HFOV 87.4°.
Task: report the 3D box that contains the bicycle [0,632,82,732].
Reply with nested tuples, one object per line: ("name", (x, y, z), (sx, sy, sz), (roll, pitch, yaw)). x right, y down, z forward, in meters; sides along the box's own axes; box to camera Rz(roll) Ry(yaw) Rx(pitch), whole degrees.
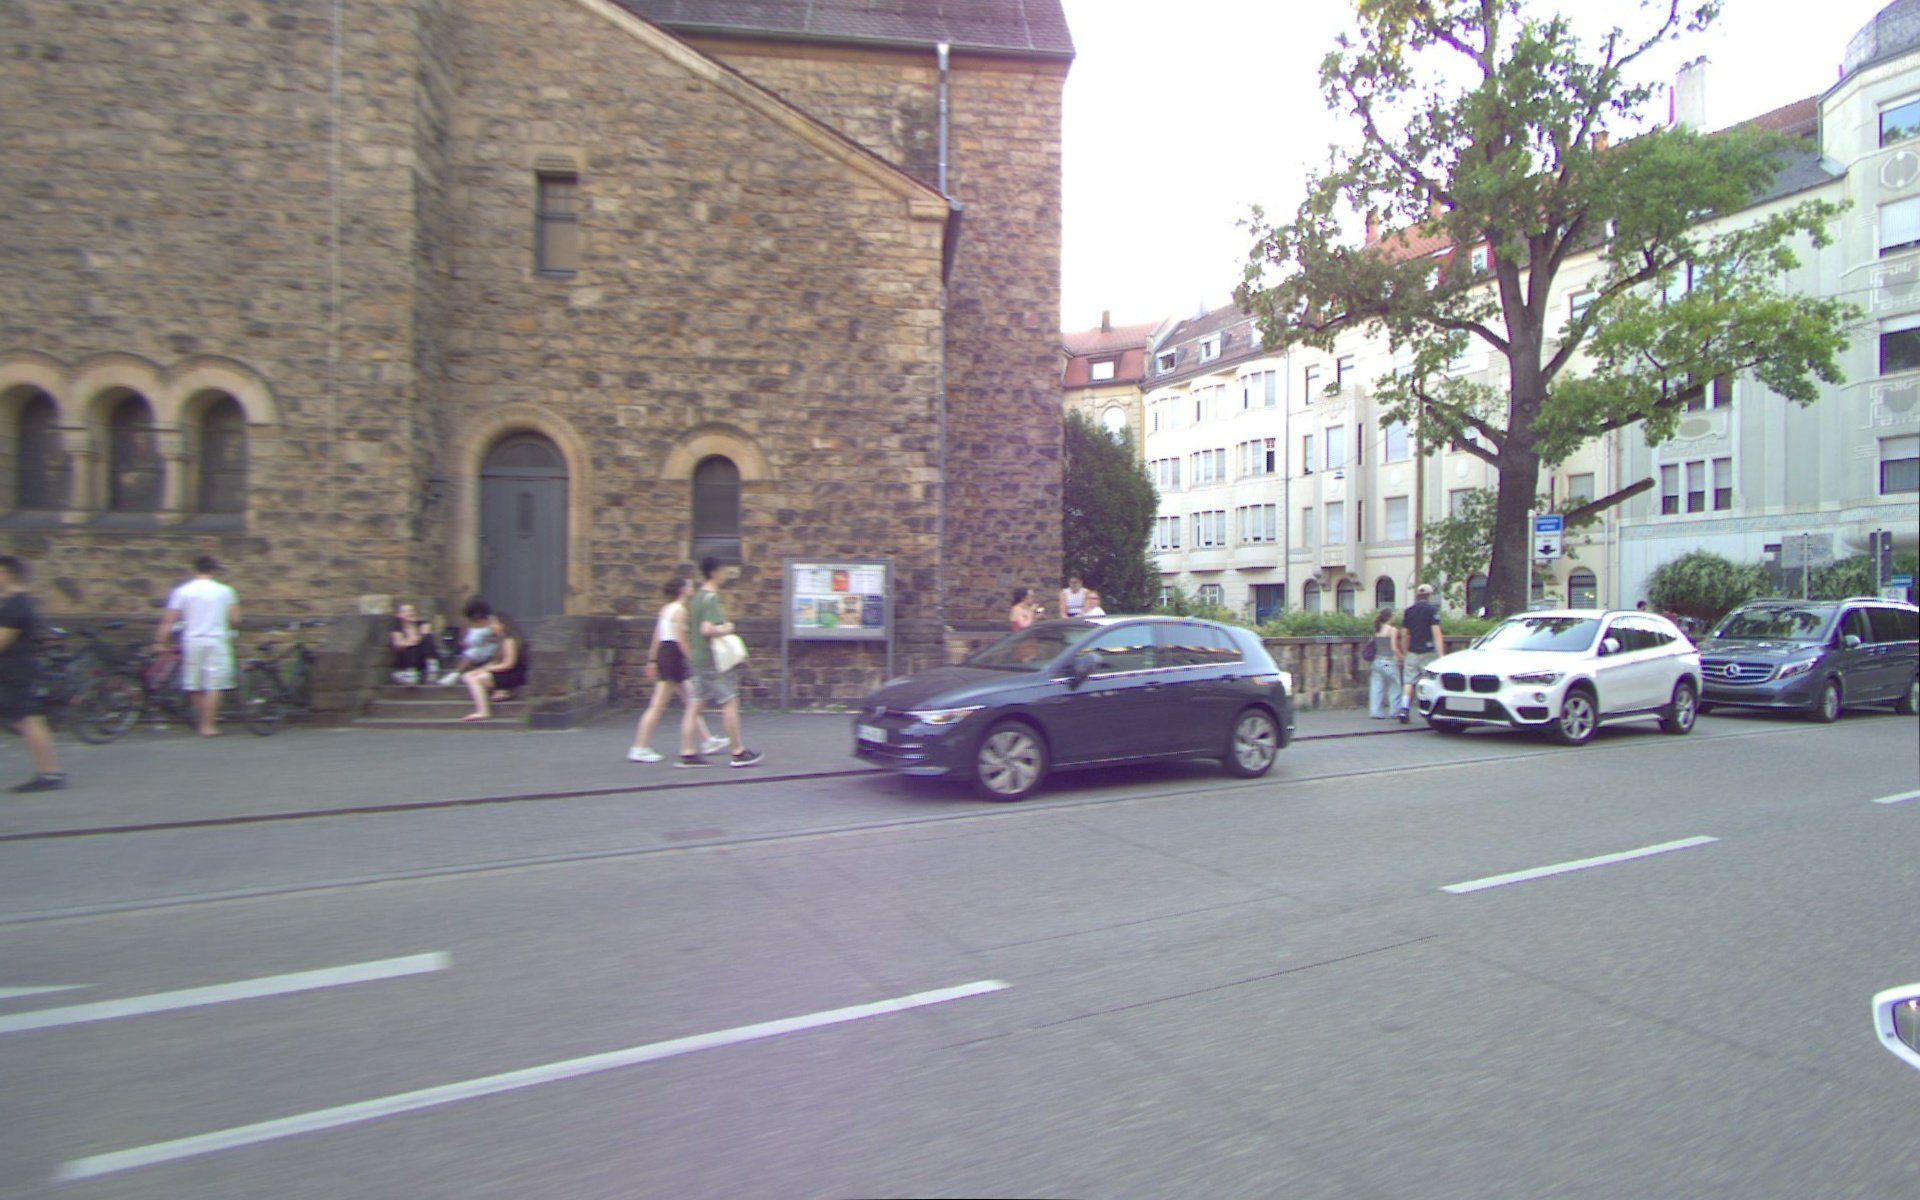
("bicycle", (-10.106, 0.850, 10.543), (0.458, 1.002, 2.002), (1, -1, -14))

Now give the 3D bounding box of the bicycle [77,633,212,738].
("bicycle", (-8.706, 0.873, 10.799), (0.364, 1.002, 1.879), (1, -1, -15))

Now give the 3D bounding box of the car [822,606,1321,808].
("car", (1.074, 0.829, 9.071), (4.263, 1.454, 1.776), (1, -1, -29))

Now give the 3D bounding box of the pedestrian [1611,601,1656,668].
("pedestrian", (17.899, 0.916, 26.698), (0.827, 1.744, 0.702), (1, -1, -32))

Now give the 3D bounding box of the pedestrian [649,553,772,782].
("pedestrian", (-2.209, 0.573, 8.900), (0.882, 1.904, 0.643), (1, -1, -33))

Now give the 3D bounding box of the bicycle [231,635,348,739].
("bicycle", (-7.210, 0.893, 10.890), (0.434, 1.002, 1.879), (1, -1, -14))

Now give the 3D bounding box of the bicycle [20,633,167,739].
("bicycle", (-9.149, 0.867, 10.684), (0.364, 1.002, 1.879), (1, -1, -14))

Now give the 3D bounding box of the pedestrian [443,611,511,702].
("pedestrian", (-5.759, 0.664, 11.998), (0.596, 1.062, 0.498), (1, -1, -10))

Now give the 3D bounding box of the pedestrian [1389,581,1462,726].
("pedestrian", (6.392, 0.723, 13.801), (0.794, 1.930, 0.579), (1, -1, -33))

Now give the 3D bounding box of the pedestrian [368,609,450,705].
("pedestrian", (-6.345, 0.636, 11.576), (0.726, 1.062, 0.519), (0, -1, 30))

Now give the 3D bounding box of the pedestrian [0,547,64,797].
("pedestrian", (-6.973, 0.506, 7.252), (0.711, 1.748, 0.683), (1, -1, -43))

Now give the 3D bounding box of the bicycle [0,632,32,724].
("bicycle", (-10.603, 0.843, 10.467), (0.458, 1.002, 2.002), (1, -1, -14))

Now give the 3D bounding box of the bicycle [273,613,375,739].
("bicycle", (-6.885, 0.783, 10.948), (0.430, 1.265, 1.728), (1, -1, -15))

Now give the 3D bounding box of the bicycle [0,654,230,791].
("bicycle", (-8.017, 1.094, 9.571), (0.542, 1.026, 2.188), (1, 0, -1))

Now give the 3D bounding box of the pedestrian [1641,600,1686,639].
("pedestrian", (18.264, 0.506, 26.079), (0.827, 0.993, 0.702), (1, -1, -32))

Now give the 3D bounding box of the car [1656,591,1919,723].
("car", (13.983, 0.875, 16.618), (5.225, 1.891, 1.985), (1, -1, -29))

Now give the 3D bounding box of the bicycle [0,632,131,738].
("bicycle", (-9.626, 0.850, 10.664), (0.458, 1.002, 1.985), (1, -1, -14))

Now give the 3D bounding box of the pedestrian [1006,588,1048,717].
("pedestrian", (0.907, 0.693, 13.524), (0.407, 1.697, 0.548), (1, -1, 20))

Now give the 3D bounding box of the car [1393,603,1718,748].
("car", (7.859, 0.900, 13.151), (4.419, 1.613, 1.861), (1, -1, -32))

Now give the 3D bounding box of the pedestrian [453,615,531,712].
("pedestrian", (-5.303, 0.707, 11.412), (0.688, 1.070, 0.516), (1, -1, -13))

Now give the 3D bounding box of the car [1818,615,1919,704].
("car", (18.337, 1.091, 19.213), (3.954, 1.576, 1.634), (1, -1, -28))

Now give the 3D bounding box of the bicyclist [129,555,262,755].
("bicyclist", (-7.639, 0.531, 10.080), (0.695, 1.905, 0.940), (1, 0, -11))

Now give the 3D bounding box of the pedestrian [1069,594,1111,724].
("pedestrian", (1.690, 0.746, 13.016), (0.407, 1.643, 0.548), (1, -1, 20))

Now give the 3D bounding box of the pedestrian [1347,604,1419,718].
("pedestrian", (6.032, 0.854, 14.323), (0.830, 1.572, 0.578), (1, 0, -33))

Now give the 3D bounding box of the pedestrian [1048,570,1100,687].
("pedestrian", (1.561, 0.393, 13.816), (0.574, 1.566, 0.652), (1, -1, -6))

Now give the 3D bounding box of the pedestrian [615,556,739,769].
("pedestrian", (-2.642, 0.561, 9.394), (0.978, 1.881, 0.569), (1, -1, -33))
